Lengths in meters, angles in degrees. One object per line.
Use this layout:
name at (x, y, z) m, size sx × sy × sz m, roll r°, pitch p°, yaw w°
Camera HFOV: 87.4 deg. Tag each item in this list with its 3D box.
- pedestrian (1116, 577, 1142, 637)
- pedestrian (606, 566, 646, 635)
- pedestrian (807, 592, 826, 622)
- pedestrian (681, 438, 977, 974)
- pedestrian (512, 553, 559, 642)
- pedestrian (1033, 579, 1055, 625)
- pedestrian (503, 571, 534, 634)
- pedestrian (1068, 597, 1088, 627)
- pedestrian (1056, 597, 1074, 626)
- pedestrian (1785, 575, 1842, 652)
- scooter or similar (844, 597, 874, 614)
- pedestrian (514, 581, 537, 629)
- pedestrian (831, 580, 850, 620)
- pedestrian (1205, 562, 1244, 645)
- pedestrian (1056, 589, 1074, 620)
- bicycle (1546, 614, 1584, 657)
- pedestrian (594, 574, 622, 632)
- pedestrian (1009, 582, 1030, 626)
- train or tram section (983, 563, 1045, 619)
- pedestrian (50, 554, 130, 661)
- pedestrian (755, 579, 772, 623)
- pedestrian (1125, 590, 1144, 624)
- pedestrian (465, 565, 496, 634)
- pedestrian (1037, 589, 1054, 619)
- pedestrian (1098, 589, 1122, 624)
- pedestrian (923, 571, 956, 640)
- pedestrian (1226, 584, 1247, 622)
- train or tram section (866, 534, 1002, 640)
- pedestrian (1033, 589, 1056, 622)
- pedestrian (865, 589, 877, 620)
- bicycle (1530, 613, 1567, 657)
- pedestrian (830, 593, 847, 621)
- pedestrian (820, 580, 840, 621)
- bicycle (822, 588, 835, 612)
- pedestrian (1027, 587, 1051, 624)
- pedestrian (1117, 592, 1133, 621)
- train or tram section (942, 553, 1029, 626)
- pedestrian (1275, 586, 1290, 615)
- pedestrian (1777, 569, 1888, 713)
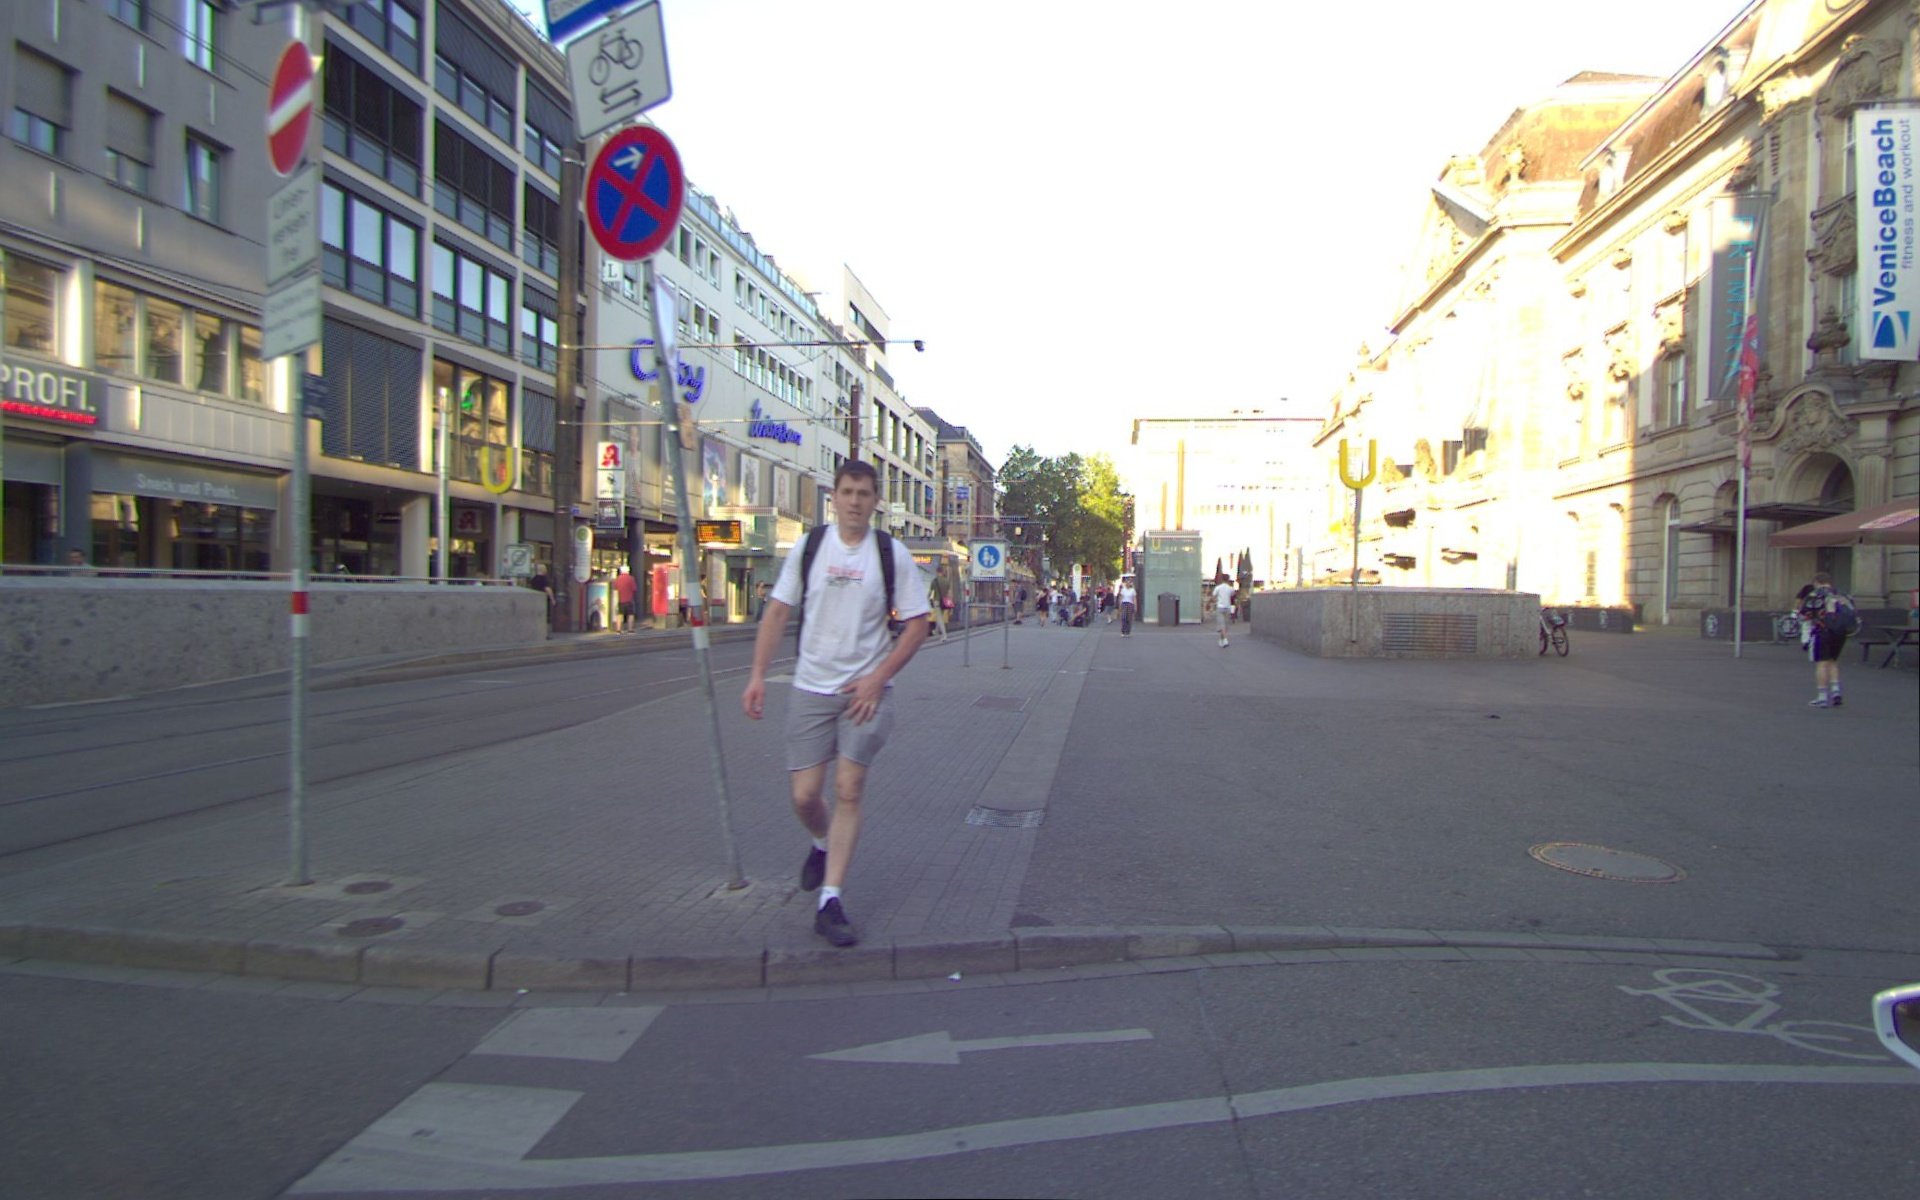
pedestrian at (5.251, 0.224, 31.241) m, size 0.760 × 1.848 × 0.940 m, roll 0°, pitch 0°, yaw 6°
pedestrian at (-8.524, 0.016, 25.632) m, size 0.701 × 1.720 × 0.786 m, roll 1°, pitch 0°, yaw 3°
pedestrian at (-6.779, 0.340, 47.425) m, size 0.695 × 1.397 × 0.721 m, roll 1°, pitch 0°, yaw 8°
pedestrian at (-0.493, 0.388, 4.104) m, size 0.997 × 1.888 × 1.042 m, roll 2°, pitch 0°, yaw -3°
pedestrian at (-9.528, -0.046, 22.556) m, size 0.701 × 1.950 × 0.710 m, roll 1°, pitch 0°, yaw 4°
pedestrian at (3.427, 0.079, 40.892) m, size 0.722 × 1.848 × 0.819 m, roll 1°, pitch 1°, yaw -5°
pedestrian at (-11.433, 0.079, 26.019) m, size 0.621 × 1.609 × 0.600 m, roll 1°, pitch 0°, yaw -33°
pedestrian at (5.065, 0.519, 43.170) m, size 0.779 × 1.238 × 0.769 m, roll 1°, pitch 1°, yaw 6°
pedestrian at (4.606, 0.502, 44.061) m, size 0.779 × 1.238 × 0.769 m, roll 1°, pitch 1°, yaw 6°
pedestrian at (18.135, 0.263, 21.339) m, size 0.838 × 1.587 × 0.845 m, roll 3°, pitch 3°, yaw 43°
scooter or similar at (-5.098, 0.281, 50.759) m, size 1.514 × 0.842 × 0.552 m, roll 1°, pitch -1°, yaw -42°
pedestrian at (-14.530, 0.169, 33.590) m, size 0.499 × 1.568 × 0.518 m, roll 1°, pitch 0°, yaw 1°
pedestrian at (-5.399, 0.010, 45.409) m, size 0.699 × 1.748 × 0.772 m, roll 1°, pitch 0°, yaw -20°
pedestrian at (6.671, 0.088, 25.312) m, size 0.758 × 2.040 × 0.917 m, roll 2°, pitch 0°, yaw 23°
pedestrian at (5.863, 0.263, 56.208) m, size 0.779 × 1.683 × 0.769 m, roll 1°, pitch 1°, yaw 21°
bicycle at (12.739, 0.736, 21.168) m, size 0.310 × 0.879 × 1.001 m, roll 0°, pitch 0°, yaw 8°
pedestrian at (-9.906, 0.094, 28.268) m, size 0.594 × 1.609 × 0.627 m, roll 1°, pitch 0°, yaw -8°
pedestrian at (2.505, 0.156, 42.501) m, size 0.722 × 1.848 × 0.819 m, roll 1°, pitch 1°, yaw -5°
train or tram section at (3.872, -0.620, 68.324) m, size 2.752 × 3.364 × 14.515 m, roll 1°, pitch 0°, yaw 9°
pedestrian at (-14.637, 0.126, 16.915) m, size 0.701 × 1.748 × 0.710 m, roll 1°, pitch 0°, yaw 8°
pedestrian at (-7.370, 0.050, 37.735) m, size 0.502 × 1.639 × 0.505 m, roll 1°, pitch 0°, yaw 0°
pedestrian at (8.832, 0.368, 50.951) m, size 0.779 × 1.683 × 0.769 m, roll 1°, pitch 1°, yaw 21°
pedestrian at (-12.291, -0.010, 25.744) m, size 0.622 × 1.748 × 0.599 m, roll 1°, pitch 0°, yaw -34°
pedestrian at (5.013, 0.234, 59.050) m, size 0.754 × 1.683 × 0.794 m, roll 1°, pitch 1°, yaw 21°
pedestrian at (7.296, 0.320, 48.885) m, size 0.761 × 1.683 × 0.788 m, roll 1°, pitch 1°, yaw -32°
pedestrian at (-0.526, 0.147, 25.808) m, size 0.708 × 1.748 × 0.708 m, roll 1°, pitch 0°, yaw -11°
pedestrian at (13.679, 0.156, 49.705) m, size 0.761 × 1.848 × 0.848 m, roll 1°, pitch 1°, yaw 30°
train or tram section at (-0.550, -0.471, 39.569) m, size 2.752 × 3.364 × 14.515 m, roll 1°, pitch 0°, yaw 9°
pedestrian at (4.107, 0.264, 48.691) m, size 0.757 × 1.600 × 0.791 m, roll 2°, pitch 1°, yaw 39°
pedestrian at (-5.187, 0.268, 58.329) m, size 0.591 × 1.750 × 0.608 m, roll 1°, pitch 0°, yaw 2°
bicycle at (12.423, 0.726, 21.217) m, size 0.310 × 0.879 × 1.001 m, roll 0°, pitch 0°, yaw 8°
pedestrian at (-6.120, 0.356, 50.599) m, size 0.695 × 1.397 × 0.721 m, roll 1°, pitch 0°, yaw 8°
pedestrian at (-5.648, 0.032, 43.625) m, size 0.699 × 1.748 × 0.771 m, roll 1°, pitch 0°, yaw -21°
bicycle at (-6.522, 0.010, 49.663) m, size 0.427 × 1.157 × 1.613 m, roll 1°, pitch 1°, yaw -15°
pedestrian at (3.517, 0.251, 44.619) m, size 0.757 × 1.600 × 0.791 m, roll 2°, pitch 1°, yaw 39°
pedestrian at (9.614, 0.381, 58.586) m, size 0.779 × 1.683 × 0.769 m, roll 1°, pitch 1°, yaw 21°
train or tram section at (1.664, -0.542, 53.945) m, size 2.752 × 3.364 × 14.515 m, roll 1°, pitch 0°, yaw 9°
pedestrian at (20.610, 0.027, 64.188) m, size 0.760 × 1.849 × 0.850 m, roll 1°, pitch 1°, yaw 6°
pedestrian at (11.622, 0.516, 13.417) m, size 0.795 × 1.848 × 0.806 m, roll 1°, pitch 2°, yaw 14°
